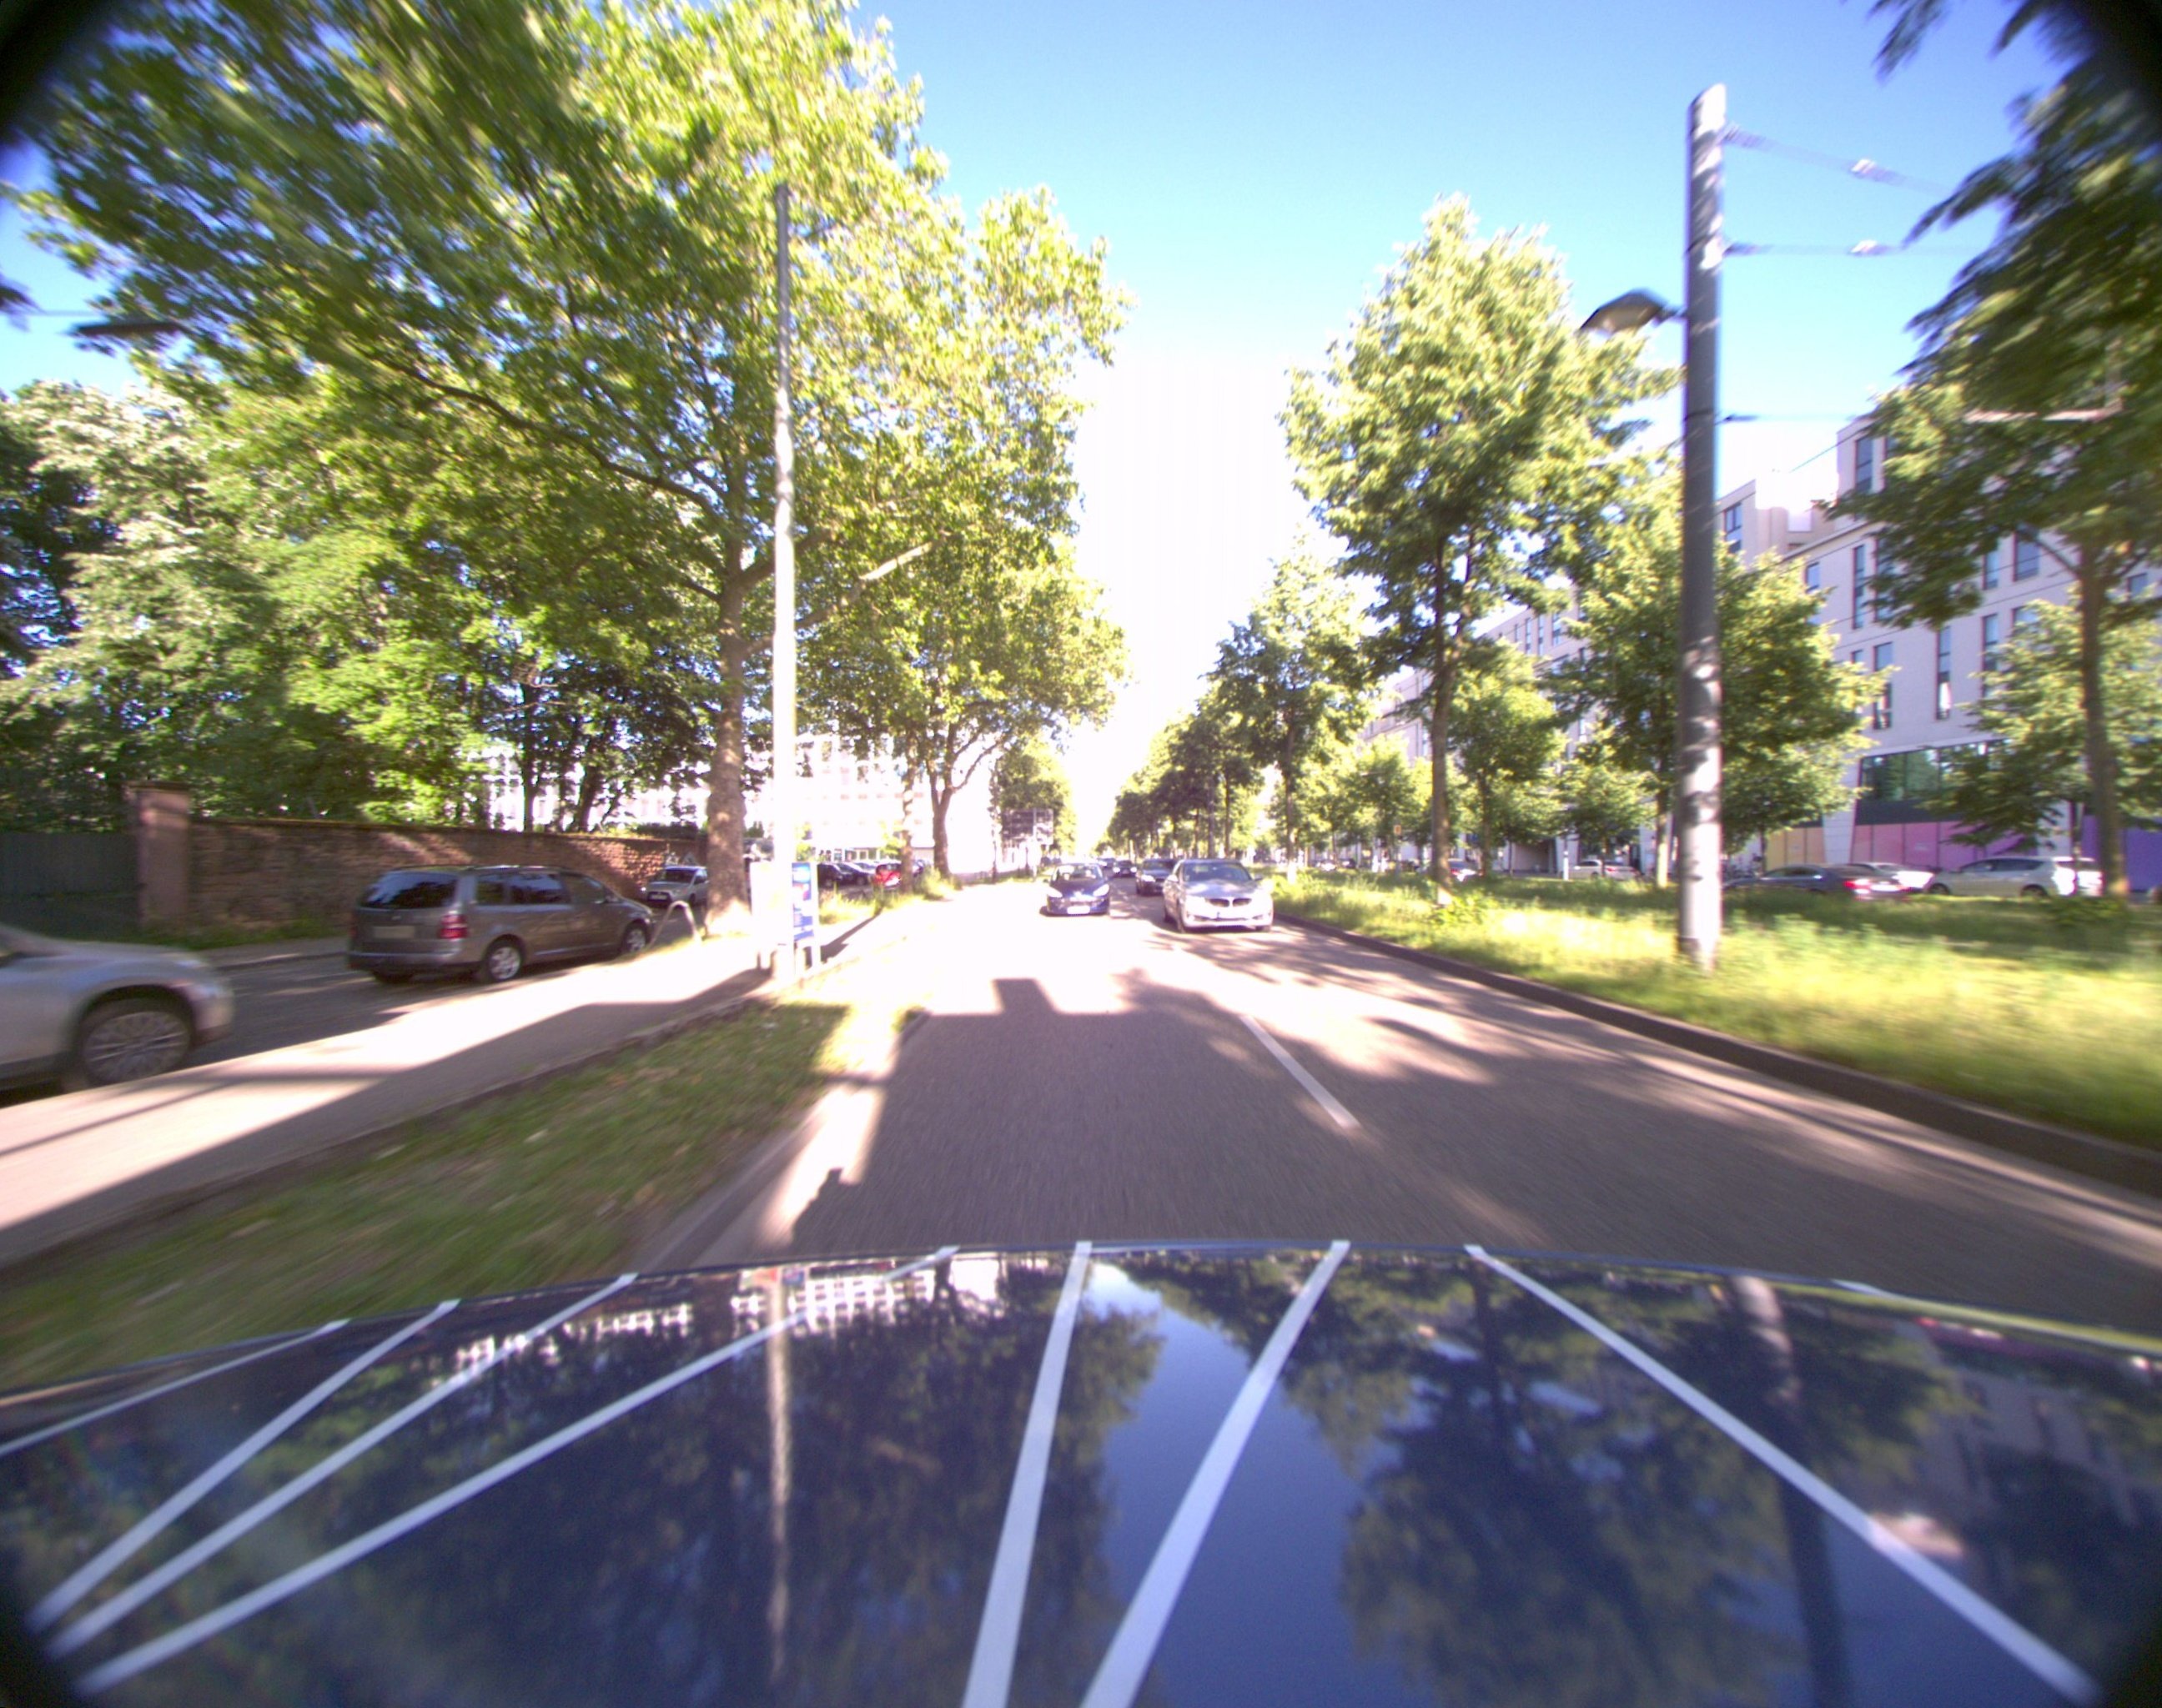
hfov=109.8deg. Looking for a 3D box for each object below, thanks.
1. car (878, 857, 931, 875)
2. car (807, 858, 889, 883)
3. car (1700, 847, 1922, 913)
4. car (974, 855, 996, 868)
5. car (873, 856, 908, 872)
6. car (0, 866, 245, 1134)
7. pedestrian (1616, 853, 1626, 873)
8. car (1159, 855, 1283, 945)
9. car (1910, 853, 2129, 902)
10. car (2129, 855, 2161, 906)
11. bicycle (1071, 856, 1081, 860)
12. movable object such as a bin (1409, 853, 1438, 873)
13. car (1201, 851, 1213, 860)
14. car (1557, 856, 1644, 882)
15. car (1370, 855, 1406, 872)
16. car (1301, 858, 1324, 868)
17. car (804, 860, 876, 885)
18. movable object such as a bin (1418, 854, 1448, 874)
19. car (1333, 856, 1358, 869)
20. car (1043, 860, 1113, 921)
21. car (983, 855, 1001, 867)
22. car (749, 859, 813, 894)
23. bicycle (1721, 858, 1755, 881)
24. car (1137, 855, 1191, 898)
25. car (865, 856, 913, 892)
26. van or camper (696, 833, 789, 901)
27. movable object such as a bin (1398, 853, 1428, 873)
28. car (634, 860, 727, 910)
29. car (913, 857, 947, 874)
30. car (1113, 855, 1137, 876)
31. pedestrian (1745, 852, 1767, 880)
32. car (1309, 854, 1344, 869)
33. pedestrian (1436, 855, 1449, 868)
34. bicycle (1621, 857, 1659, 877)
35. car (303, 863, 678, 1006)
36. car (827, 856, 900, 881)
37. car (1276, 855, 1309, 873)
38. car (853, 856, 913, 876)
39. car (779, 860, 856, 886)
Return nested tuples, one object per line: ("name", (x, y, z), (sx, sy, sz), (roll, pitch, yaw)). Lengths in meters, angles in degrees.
("car", (-14.941, 1.012, 64.419), (4.089, 1.459, 1.715), (1, 1, 2))
("car", (-15.362, 1.078, 50.325), (4.731, 1.398, 2.000), (3, 0, 1))
("car", (22.616, 0.734, 23.936), (1.998, 1.830, 5.250), (-1, 0, 1))
("car", (-12.376, 0.947, 98.590), (1.998, 1.477, 4.403), (3, 1, 4))
("car", (-20.006, 1.046, 79.934), (1.748, 1.527, 3.886), (-2, 1, 19))
("car", (-7.357, 0.940, 3.743), (1.797, 1.551, 4.021), (-4, 0, 4))
("pedestrian", (41.007, 0.688, 57.673), (0.501, 1.540, 0.523), (-1, 1, 43))
("car", (2.812, 0.860, 16.220), (1.886, 1.569, 4.277), (-2, 1, 1))
("car", (31.741, 0.716, 25.948), (1.998, 1.433, 4.455), (-2, 1, 1))
("car", (31.823, 0.758, 20.108), (1.999, 1.433, 4.455), (-2, 1, -1))
("bicycle", (-1.091, 0.952, 165.997), (1.927, 0.899, 0.647), (0, 0, 4))
("movable object such as a bin", (32.084, 0.875, 71.146), (1.975, 1.784, 1.555), (-2, 1, -1))
("car", (27.356, 0.327, 165.021), (1.998, 2.002, 4.001), (-2, 1, 4))
("car", (32.271, 0.910, 47.398), (1.999, 1.433, 4.924), (-2, 1, -1))
("car", (32.750, 0.974, 81.208), (1.999, 1.719, 4.337), (-2, 1, -1))
("car", (32.282, 1.235, 105.840), (1.728, 1.405, 4.336), (0, 0, -3))
("car", (-15.130, 1.161, 47.860), (3.996, 1.384, 1.620), (1, 1, 4))
("movable object such as a bin", (32.091, 0.890, 69.343), (1.975, 1.784, 1.555), (-2, 1, -1))
("car", (32.519, 1.004, 93.445), (1.562, 1.471, 4.271), (-1, 0, 0))
("car", (-0.010, 0.972, 21.770), (1.766, 1.462, 4.000), (-2, 1, 2))
("car", (-12.130, 0.961, 103.768), (1.869, 1.477, 4.272), (2, 1, 1))
("car", (-15.238, 1.108, 38.800), (2.000, 1.565, 3.997), (2, 0, -6))
("bicycle", (39.150, 0.924, 45.276), (0.599, 1.273, 1.608), (-2, 1, -1))
("car", (3.334, 0.871, 31.148), (1.950, 1.513, 4.000), (-2, 1, 3))
("car", (-9.613, 0.971, 38.300), (2.000, 1.630, 3.996), (-2, 1, -10))
("van or camper", (-14.929, 0.528, 33.856), (1.999, 2.715, 4.963), (2, 0, -2))
("movable object such as a bin", (31.986, 0.861, 73.203), (1.975, 1.784, 2.010), (-2, 1, -2))
("car", (-14.820, 1.101, 28.392), (1.846, 1.608, 3.996), (3, 0, -10))
("car", (-14.338, 1.083, 72.315), (2.770, 1.541, 1.463), (1, 1, 10))
("car", (3.506, 0.875, 60.916), (1.782, 1.571, 3.783), (-2, 1, 1))
("pedestrian", (40.456, 0.708, 45.519), (0.637, 1.641, 0.720), (-2, 1, -1))
("car", (24.677, 0.726, 76.468), (1.998, 1.433, 5.110), (-2, 1, 2))
("pedestrian", (41.581, 0.888, 87.328), (0.949, 1.459, 1.026), (-2, 1, -8))
("bicycle", (39.700, 0.921, 53.994), (0.949, 1.273, 2.773), (-2, 1, 8))
("car", (-8.532, 1.027, 11.684), (1.797, 1.625, 4.628), (-2, 1, 6))
("car", (-15.197, 1.012, 53.261), (4.390, 1.403, 2.000), (4, 0, 3))
("car", (21.510, 1.022, 77.452), (1.998, 1.676, 5.110), (-2, 1, 1))
("car", (-15.423, 0.934, 59.326), (4.202, 1.490, 1.782), (0, 0, -2))
("car", (-15.850, 1.146, 45.780), (3.998, 1.496, 1.765), (-1, 0, -2))
